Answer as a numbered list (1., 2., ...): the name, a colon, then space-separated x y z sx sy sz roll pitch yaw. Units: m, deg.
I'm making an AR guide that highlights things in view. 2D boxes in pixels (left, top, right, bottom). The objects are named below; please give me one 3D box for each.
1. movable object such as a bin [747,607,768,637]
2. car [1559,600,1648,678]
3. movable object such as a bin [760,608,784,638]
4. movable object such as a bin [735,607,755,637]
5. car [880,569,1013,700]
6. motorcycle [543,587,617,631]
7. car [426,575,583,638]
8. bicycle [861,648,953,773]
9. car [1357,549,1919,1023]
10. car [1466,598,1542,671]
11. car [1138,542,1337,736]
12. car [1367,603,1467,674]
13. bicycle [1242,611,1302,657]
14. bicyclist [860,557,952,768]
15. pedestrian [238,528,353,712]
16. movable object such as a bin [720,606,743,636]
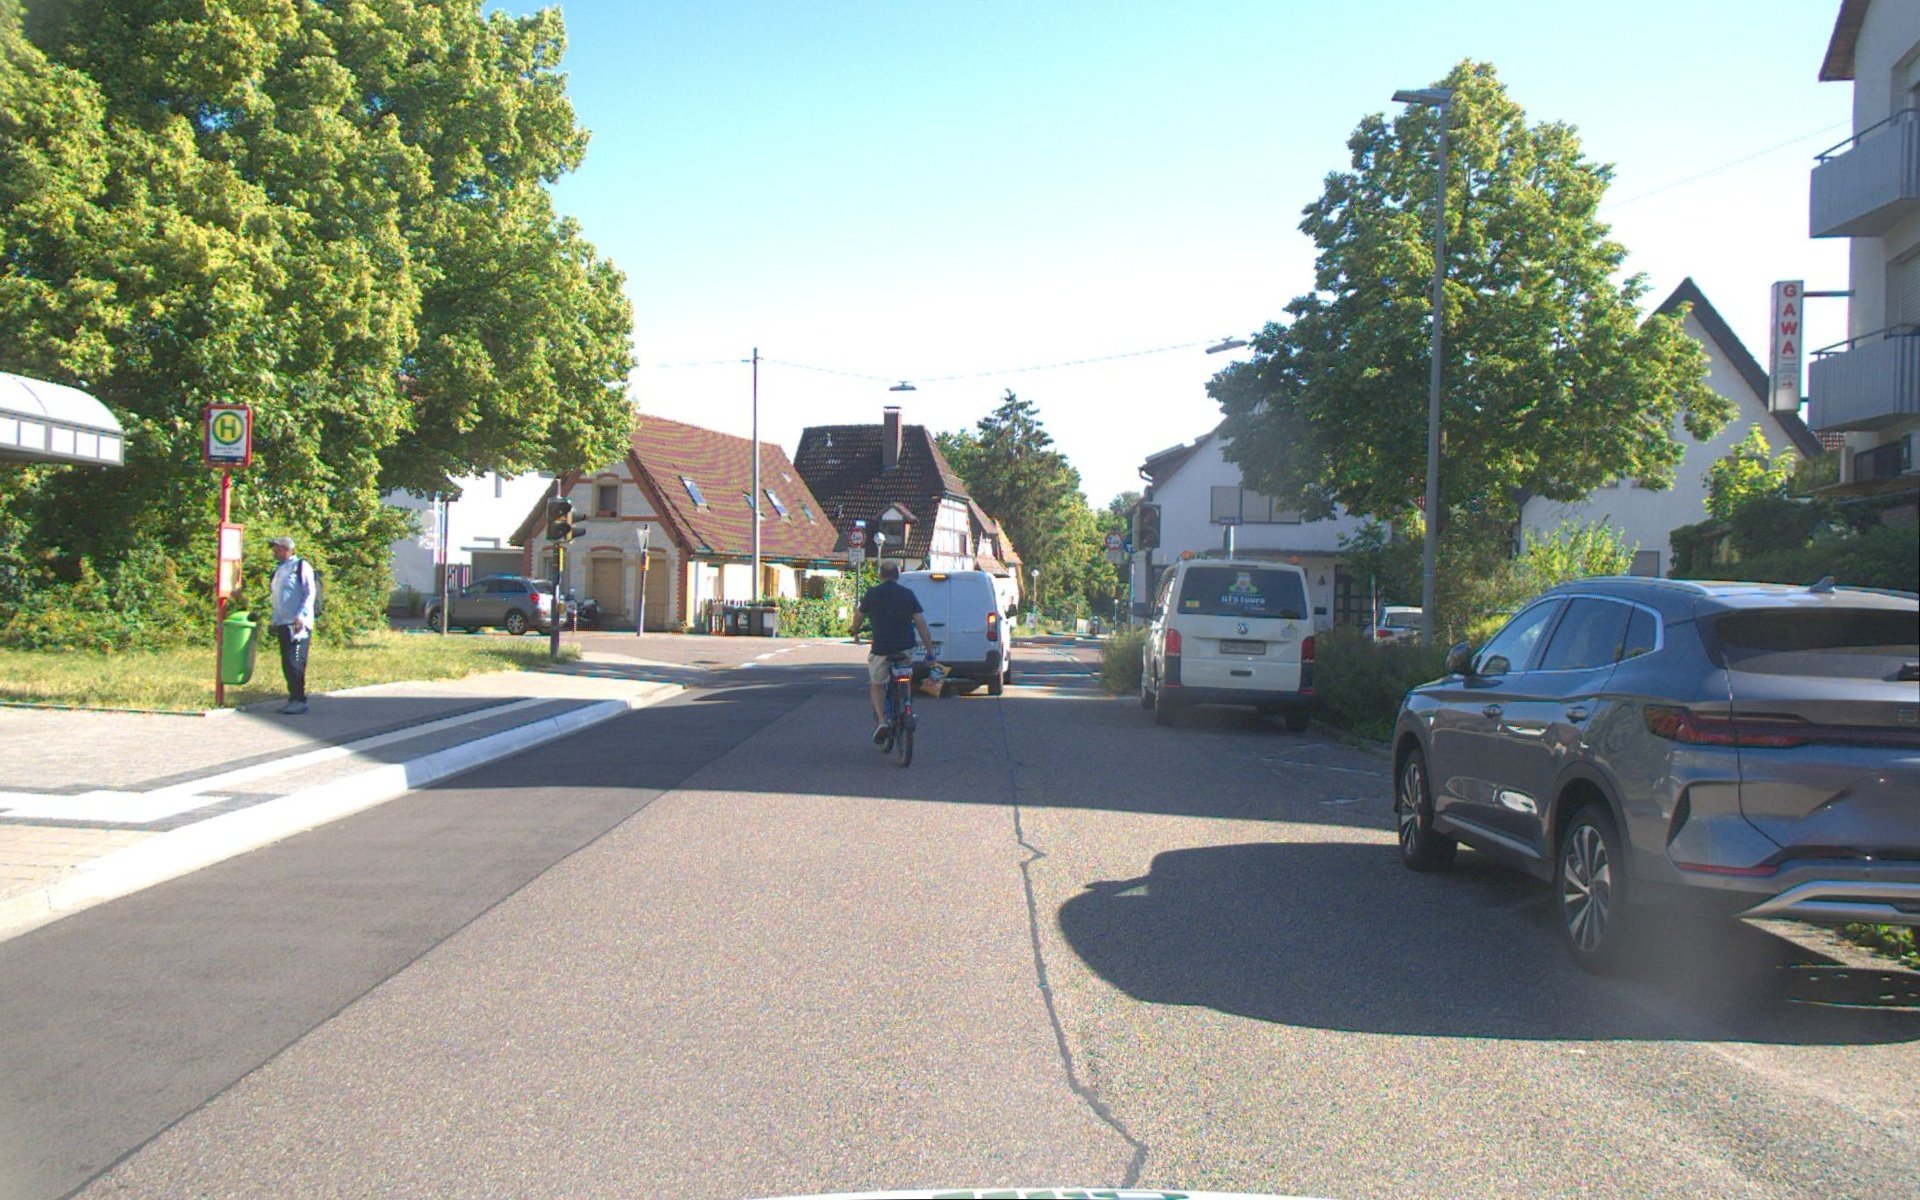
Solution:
1. movable object such as a bin: -6.477 0.715 52.911 0.402 0.941 0.626 1 0 19
2. car: 15.362 0.881 39.645 1.672 1.578 4.406 3 2 18
3. movable object such as a bin: -5.996 0.728 52.746 0.544 0.941 0.626 1 0 19
4. movable object such as a bin: -6.890 0.698 53.041 0.403 0.921 0.626 1 1 19
5. car: -0.141 0.451 26.299 1.916 1.880 4.561 1 1 1
6. motorcycle: -12.310 0.280 53.537 2.195 1.317 0.883 1 3 20
7. car: -13.758 0.202 50.043 4.131 1.755 1.947 2 0 16
8. bicycle: -0.499 0.959 14.964 0.759 0.956 2.289 0 0 -3
9. car: 3.631 0.708 8.577 1.917 1.768 4.575 2 0 -1
10. car: 13.593 0.820 41.368 1.672 1.543 4.406 3 2 18
11. car: 3.414 0.453 21.212 1.952 2.115 4.579 3 0 3
12. car: 11.283 0.903 41.139 1.951 1.446 4.807 2 2 11
13. bicycle: 9.204 1.001 48.815 1.700 1.306 0.701 2 0 9
14. bicyclist: -0.487 0.539 14.843 0.749 1.820 0.852 2 0 -3
15. pedestrian: -6.888 0.201 17.147 0.703 1.834 0.769 4 1 33
16. movable object such as a bin: -7.342 0.685 53.239 0.497 0.941 0.626 1 0 19
